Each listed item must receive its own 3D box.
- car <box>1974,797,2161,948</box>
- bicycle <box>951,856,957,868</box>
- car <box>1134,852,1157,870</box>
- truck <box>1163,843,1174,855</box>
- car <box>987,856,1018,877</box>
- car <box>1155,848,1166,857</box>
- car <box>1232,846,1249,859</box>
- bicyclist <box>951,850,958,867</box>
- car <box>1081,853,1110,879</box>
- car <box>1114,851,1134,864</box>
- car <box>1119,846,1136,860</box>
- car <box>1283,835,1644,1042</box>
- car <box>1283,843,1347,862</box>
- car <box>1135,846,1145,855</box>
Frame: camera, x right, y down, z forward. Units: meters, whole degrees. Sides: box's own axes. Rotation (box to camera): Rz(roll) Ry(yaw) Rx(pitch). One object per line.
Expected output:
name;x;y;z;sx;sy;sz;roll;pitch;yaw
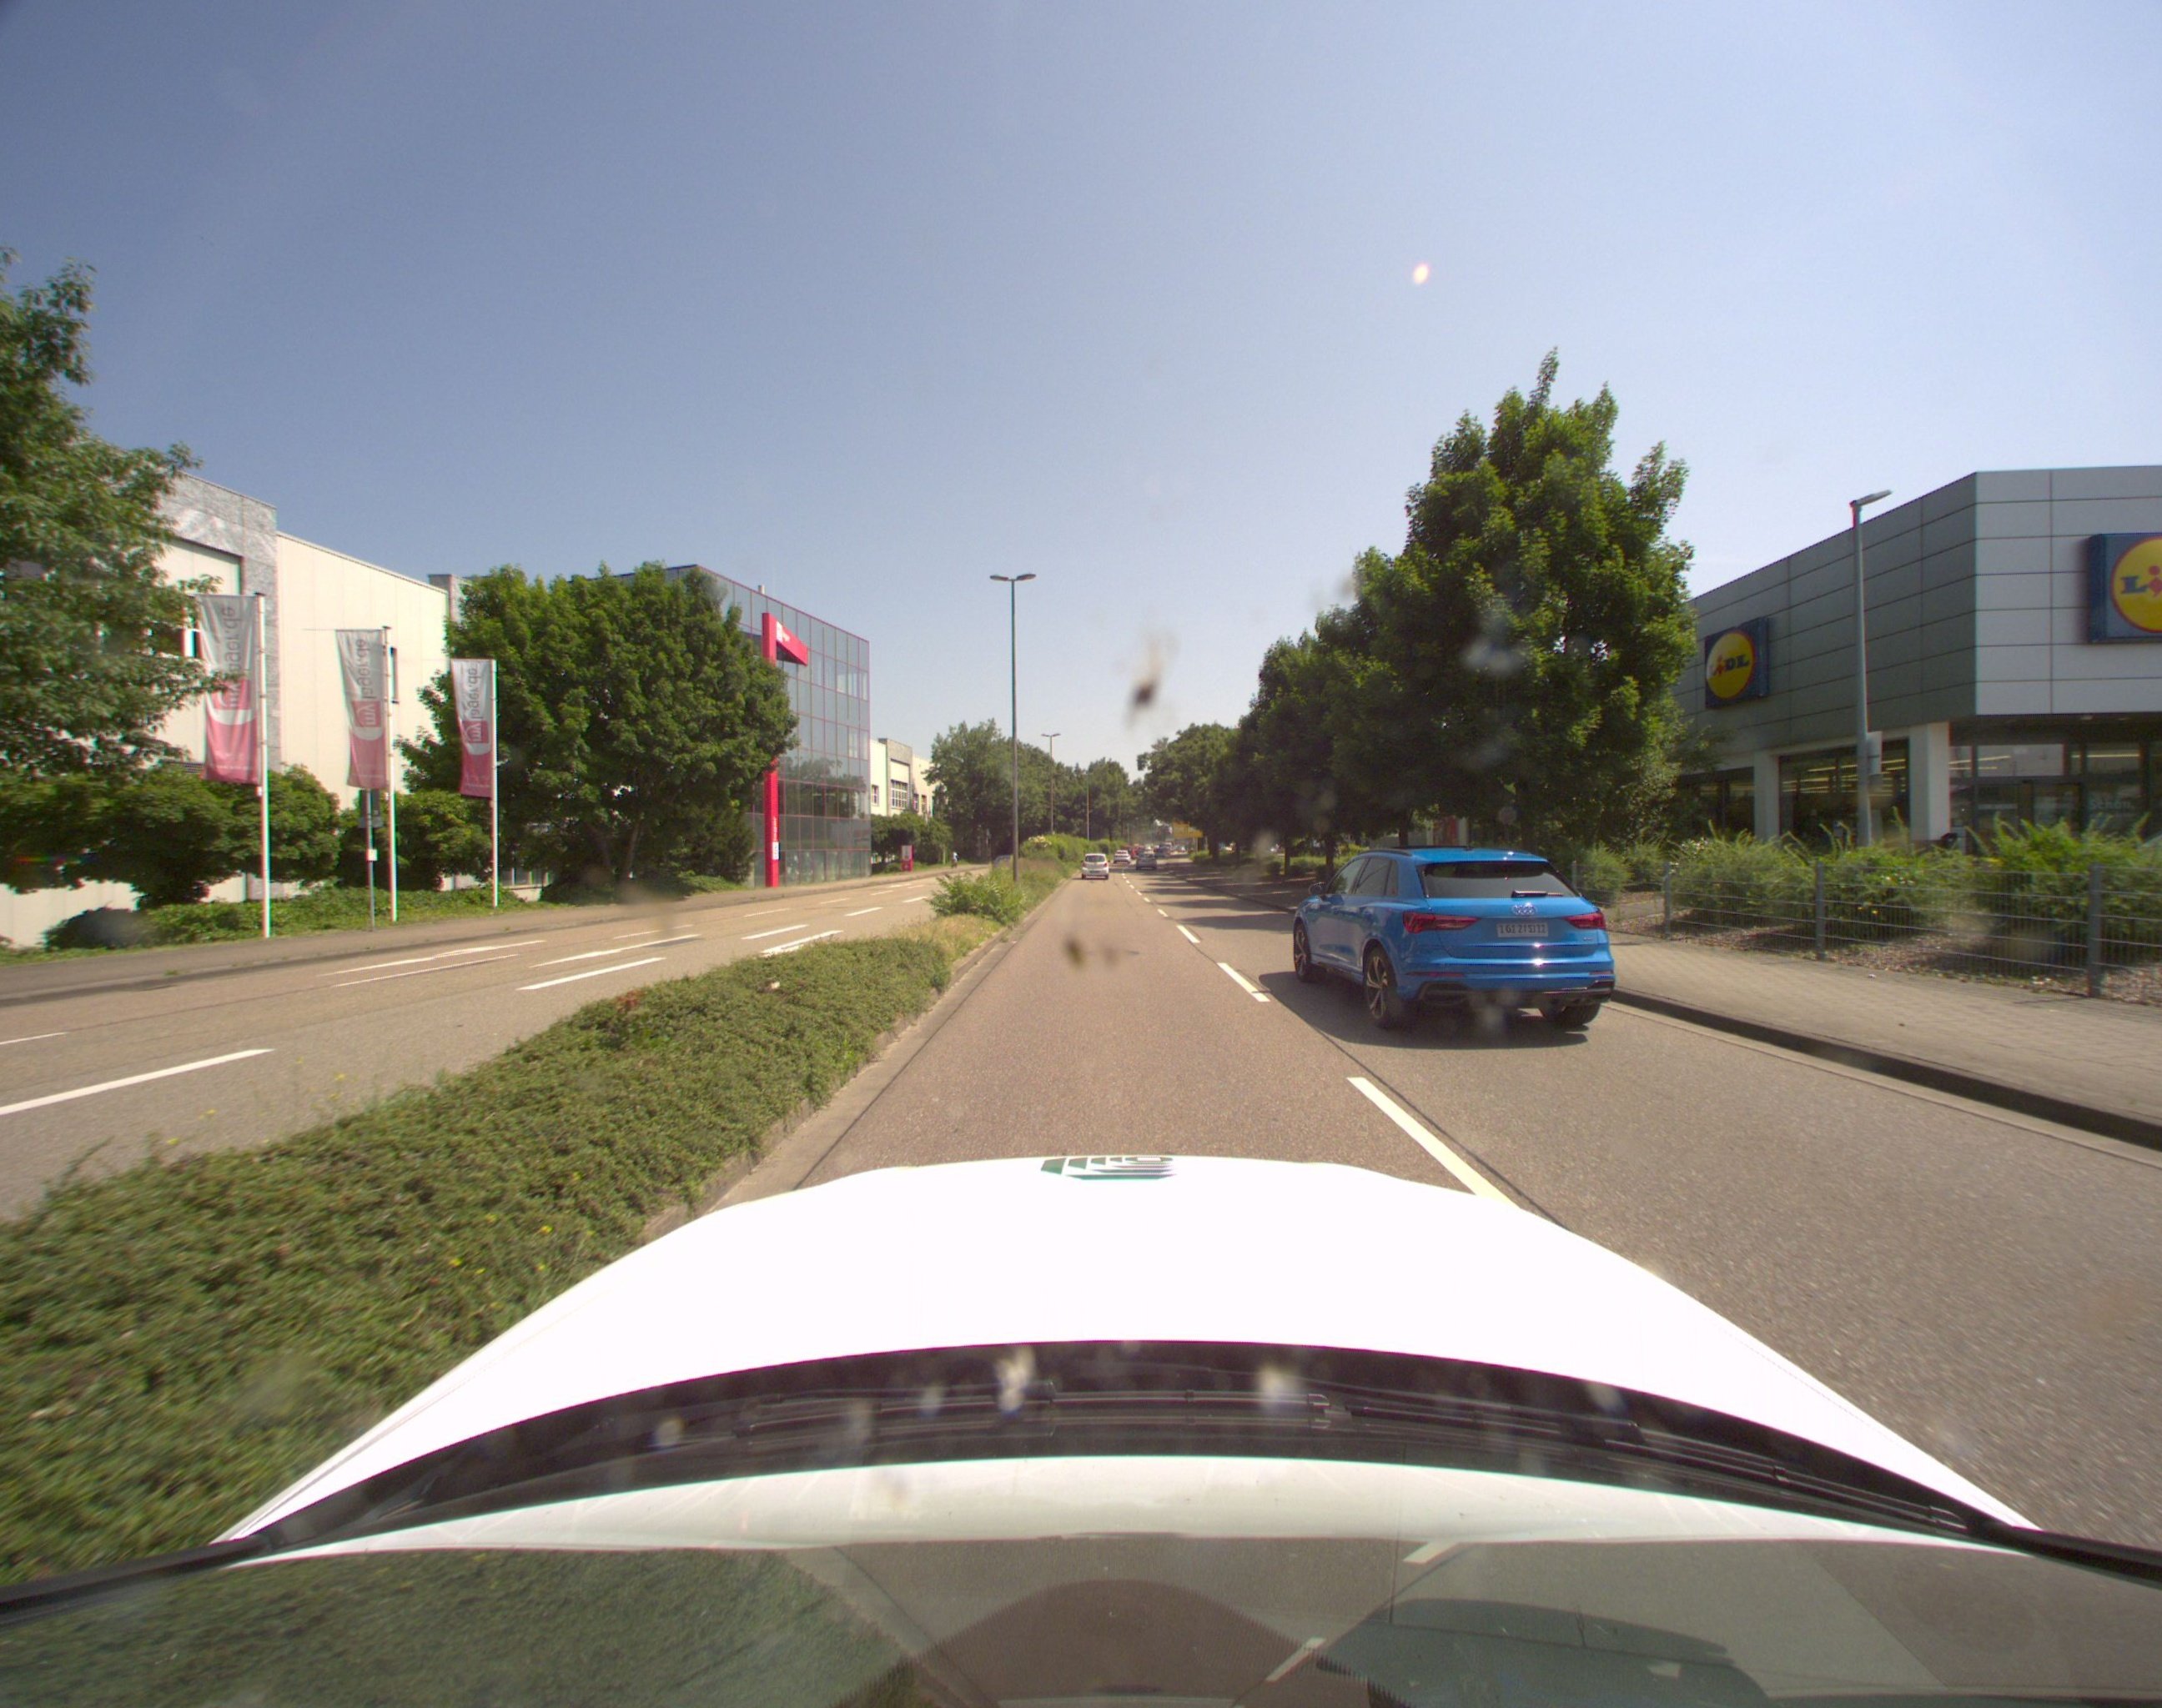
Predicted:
car;13.891;0.104;9.387;4.975;1.596;2.022;-2;0;0
bicycle;-11.764;0.721;75.704;0.345;1.067;0.923;-2;0;2
car;5.462;0.549;69.101;1.857;1.473;4.005;0;0;4
truck;25.773;-1.587;239.850;2.916;3.502;9.176;-1;0;7
car;-5.722;0.891;59.978;1.715;1.416;4.248;-3;0;1
car;12.099;-0.224;124.368;1.436;1.348;3.461;-2;0;2
car;16.341;-0.149;83.486;1.609;1.253;3.774;0;0;10
bicyclist;-11.783;0.408;75.760;0.543;1.509;0.343;-2;0;1
car;0.914;0.700;49.241;1.632;1.552;3.327;0;0;3
car;4.679;0.339;88.221;1.874;1.354;4.008;0;0;7
car;6.042;-0.146;105.440;1.875;1.608;4.008;-2;0;7
car;3.492;0.654;8.464;1.802;1.593;4.350;0;0;1
car;17.967;-0.081;62.820;1.959;1.352;4.669;-2;0;-31
car;9.088;-0.502;125.433;1.482;1.392;3.309;0;0;2
